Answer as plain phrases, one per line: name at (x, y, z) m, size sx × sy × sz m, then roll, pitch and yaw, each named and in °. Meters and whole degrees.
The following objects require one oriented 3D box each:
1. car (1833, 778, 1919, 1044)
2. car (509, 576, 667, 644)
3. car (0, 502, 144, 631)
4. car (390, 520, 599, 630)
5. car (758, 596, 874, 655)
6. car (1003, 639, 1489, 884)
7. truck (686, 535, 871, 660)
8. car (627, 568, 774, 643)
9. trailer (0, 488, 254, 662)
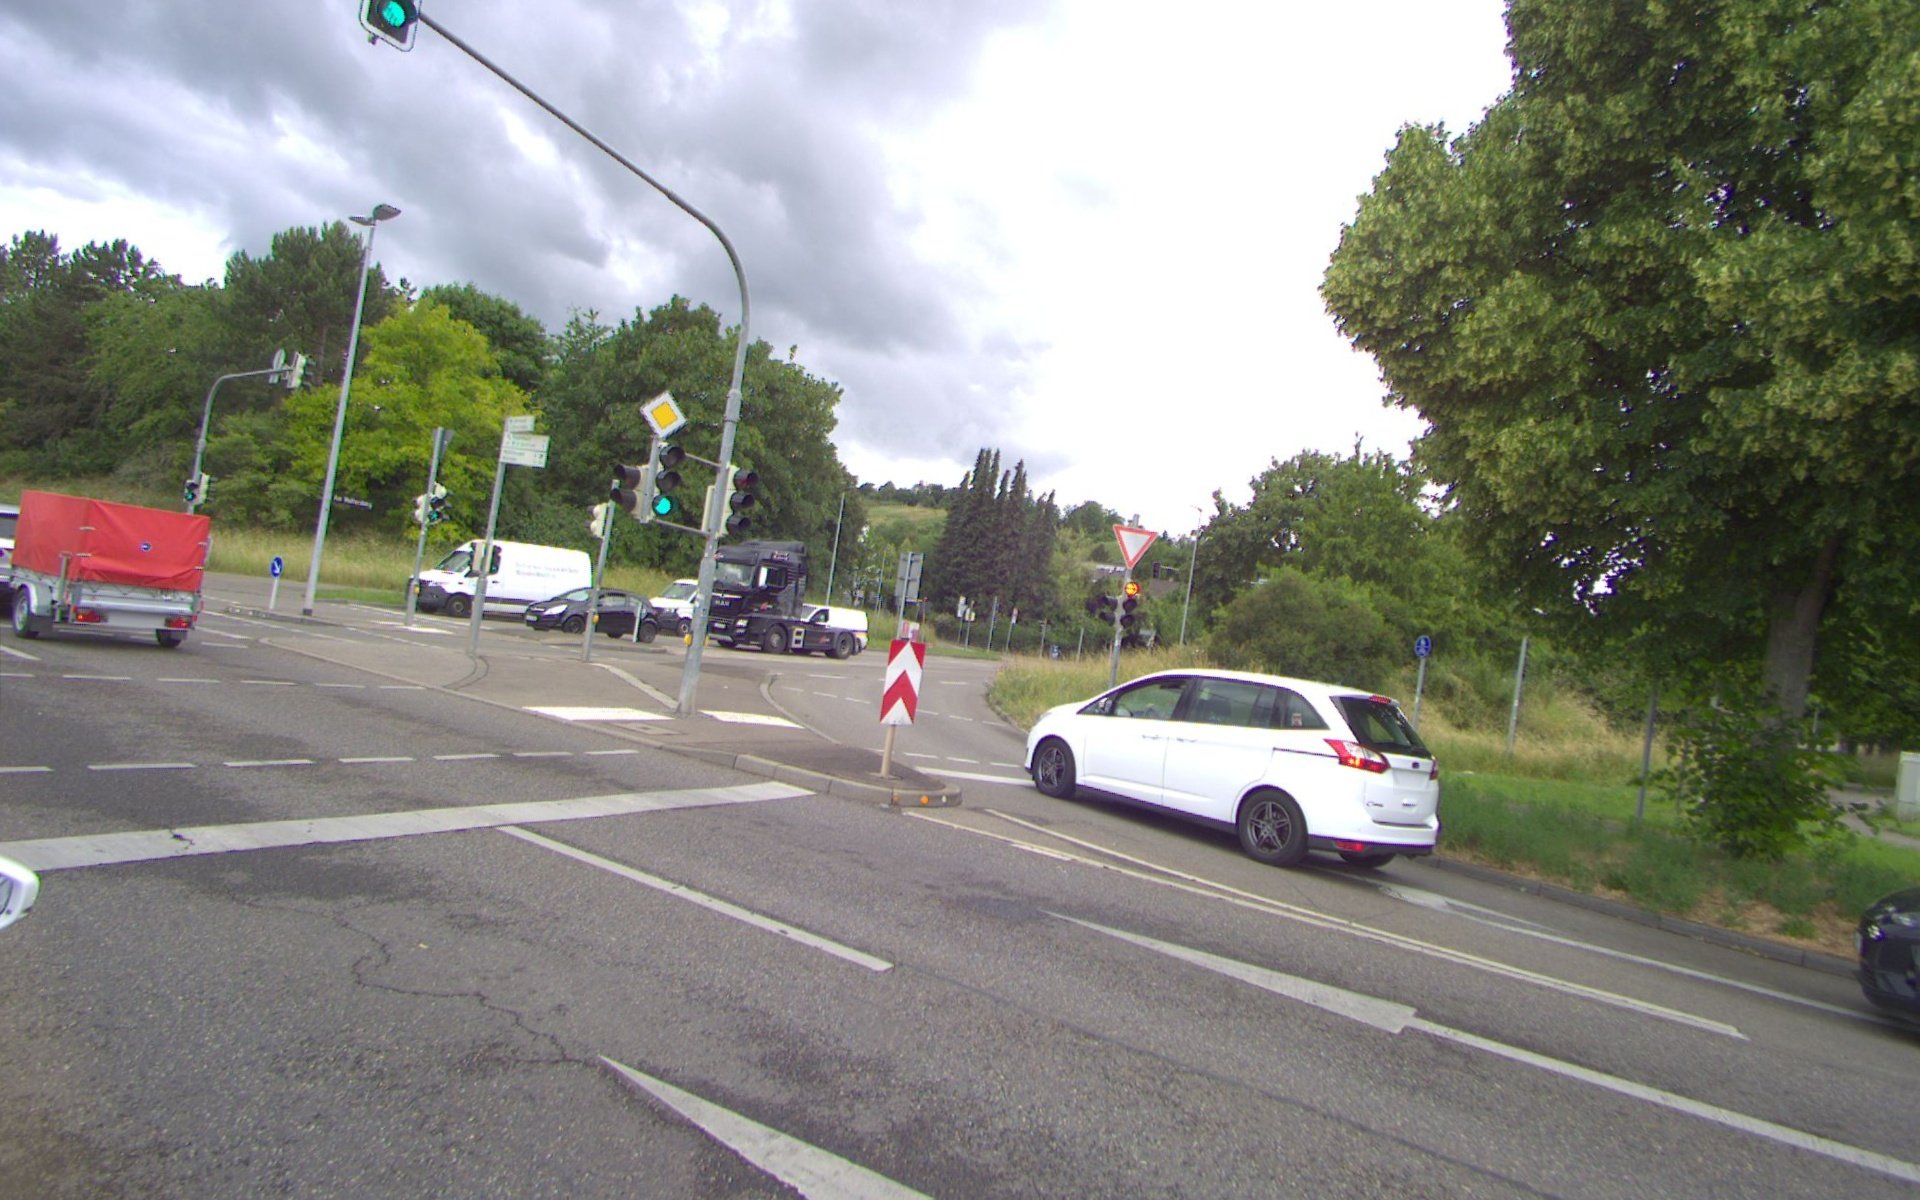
car at (7.141, 2.038, 5.356) m, size 3.562 × 1.445 × 1.622 m, roll 6°, pitch -5°, yaw 39°
car at (-10.599, 0.336, 28.925) m, size 1.703 × 1.453 × 3.927 m, roll 7°, pitch -1°, yaw 31°
car at (-13.277, -0.618, 13.748) m, size 4.383 × 1.438 × 1.782 m, roll 7°, pitch -1°, yaw 31°
car at (-15.330, -0.735, 33.593) m, size 2.100 × 2.814 × 5.903 m, roll 7°, pitch -1°, yaw 32°
car at (-5.971, 1.134, 42.345) m, size 1.999 × 1.918 × 4.862 m, roll 7°, pitch -1°, yaw 31°
car at (2.625, 1.490, 10.235) m, size 1.772 × 1.611 × 4.414 m, roll 12°, pitch -5°, yaw -37°
truck at (-6.205, 0.025, 35.336) m, size 2.682 × 3.580 × 6.061 m, roll 7°, pitch -1°, yaw 32°
car at (-10.419, 0.291, 40.900) m, size 2.100 × 2.316 × 5.709 m, roll 7°, pitch -1°, yaw 32°
trailer at (-10.184, -0.323, 11.911) m, size 2.992 × 1.635 × 1.768 m, roll 7°, pitch -1°, yaw 30°
